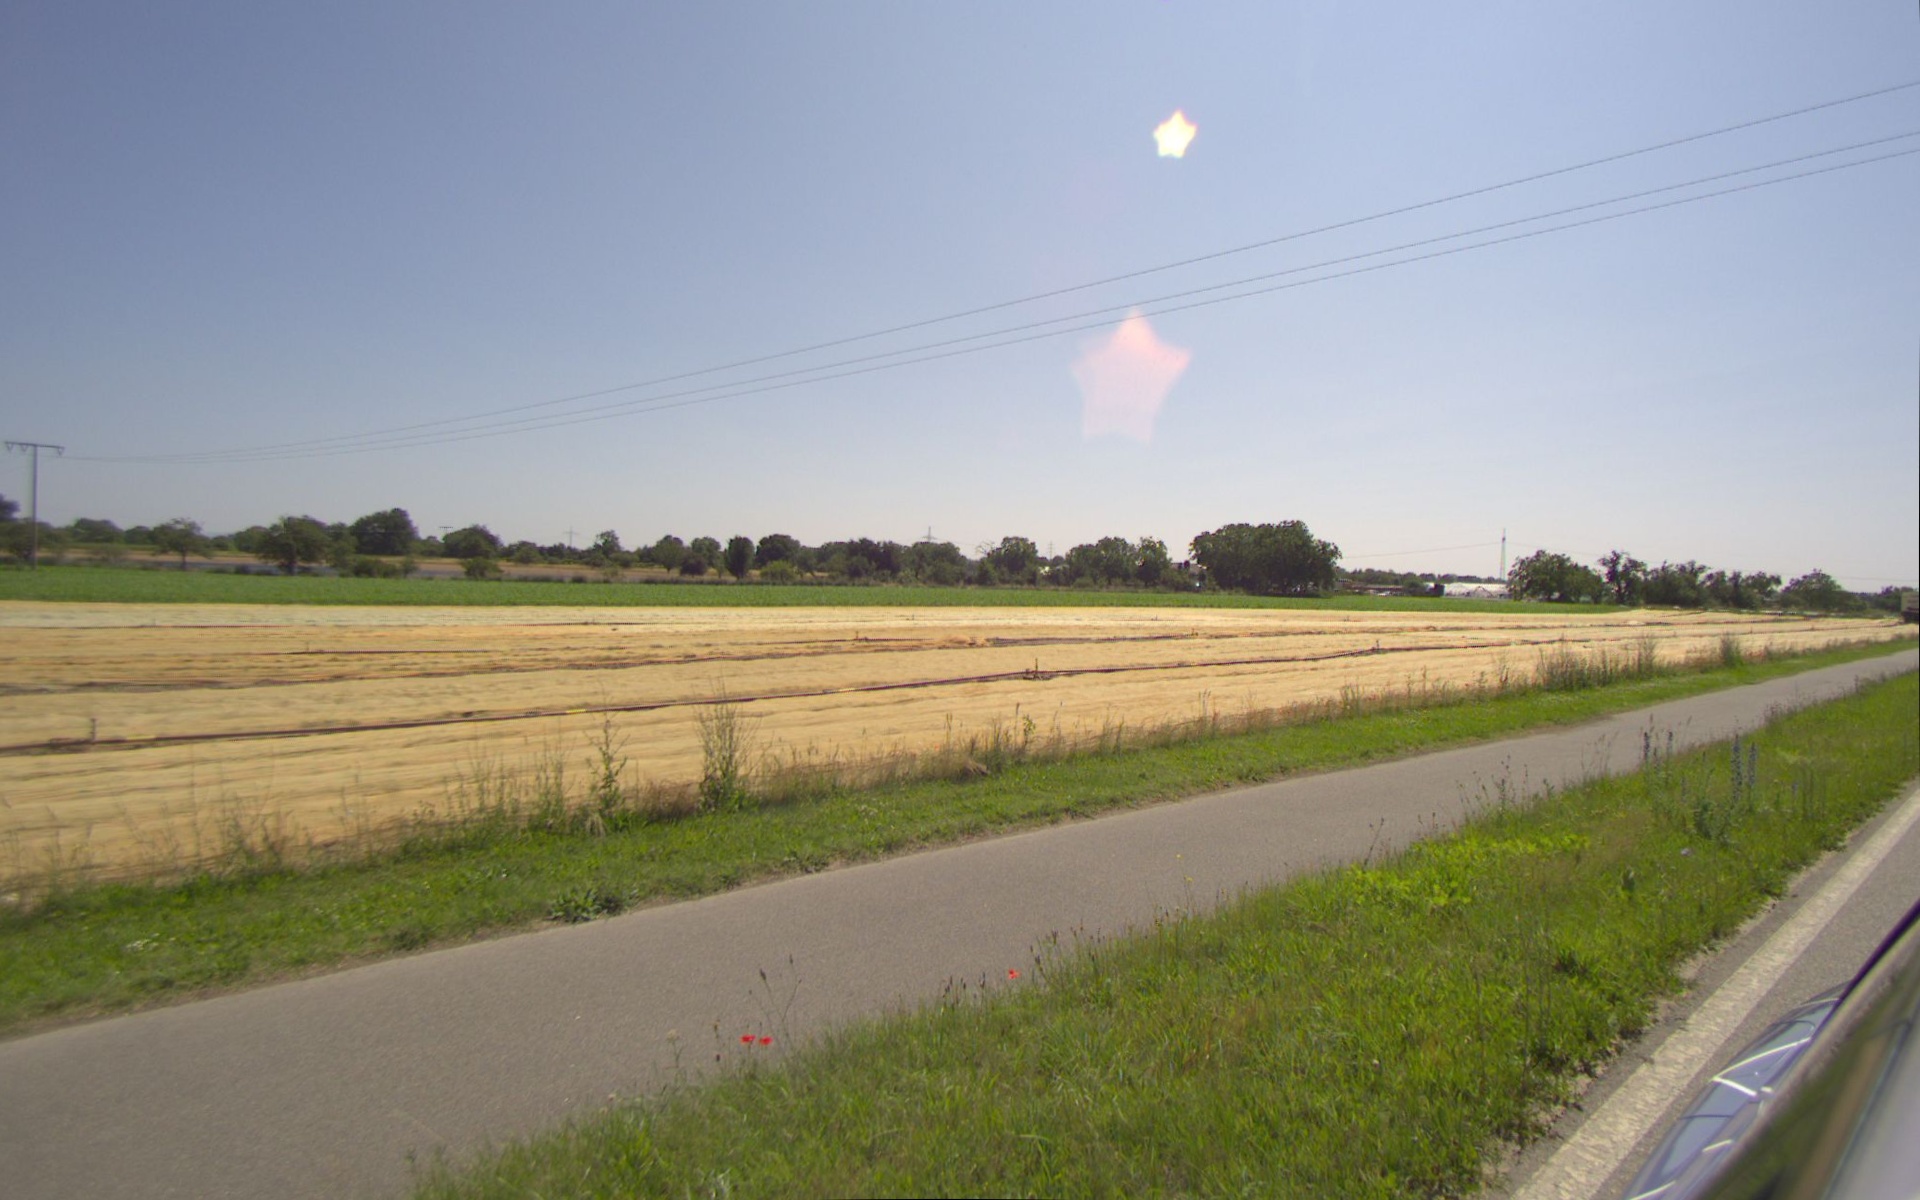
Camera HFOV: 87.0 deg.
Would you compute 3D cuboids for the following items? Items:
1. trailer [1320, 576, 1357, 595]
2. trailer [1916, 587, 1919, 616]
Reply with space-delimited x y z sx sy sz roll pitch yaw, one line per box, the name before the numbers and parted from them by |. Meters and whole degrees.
trailer | 83.780 -3.229 224.044 3.093 4.274 7.452 1 1 -28
trailer | 99.354 0.235 100.991 1.958 2.988 5.309 0 2 -20
